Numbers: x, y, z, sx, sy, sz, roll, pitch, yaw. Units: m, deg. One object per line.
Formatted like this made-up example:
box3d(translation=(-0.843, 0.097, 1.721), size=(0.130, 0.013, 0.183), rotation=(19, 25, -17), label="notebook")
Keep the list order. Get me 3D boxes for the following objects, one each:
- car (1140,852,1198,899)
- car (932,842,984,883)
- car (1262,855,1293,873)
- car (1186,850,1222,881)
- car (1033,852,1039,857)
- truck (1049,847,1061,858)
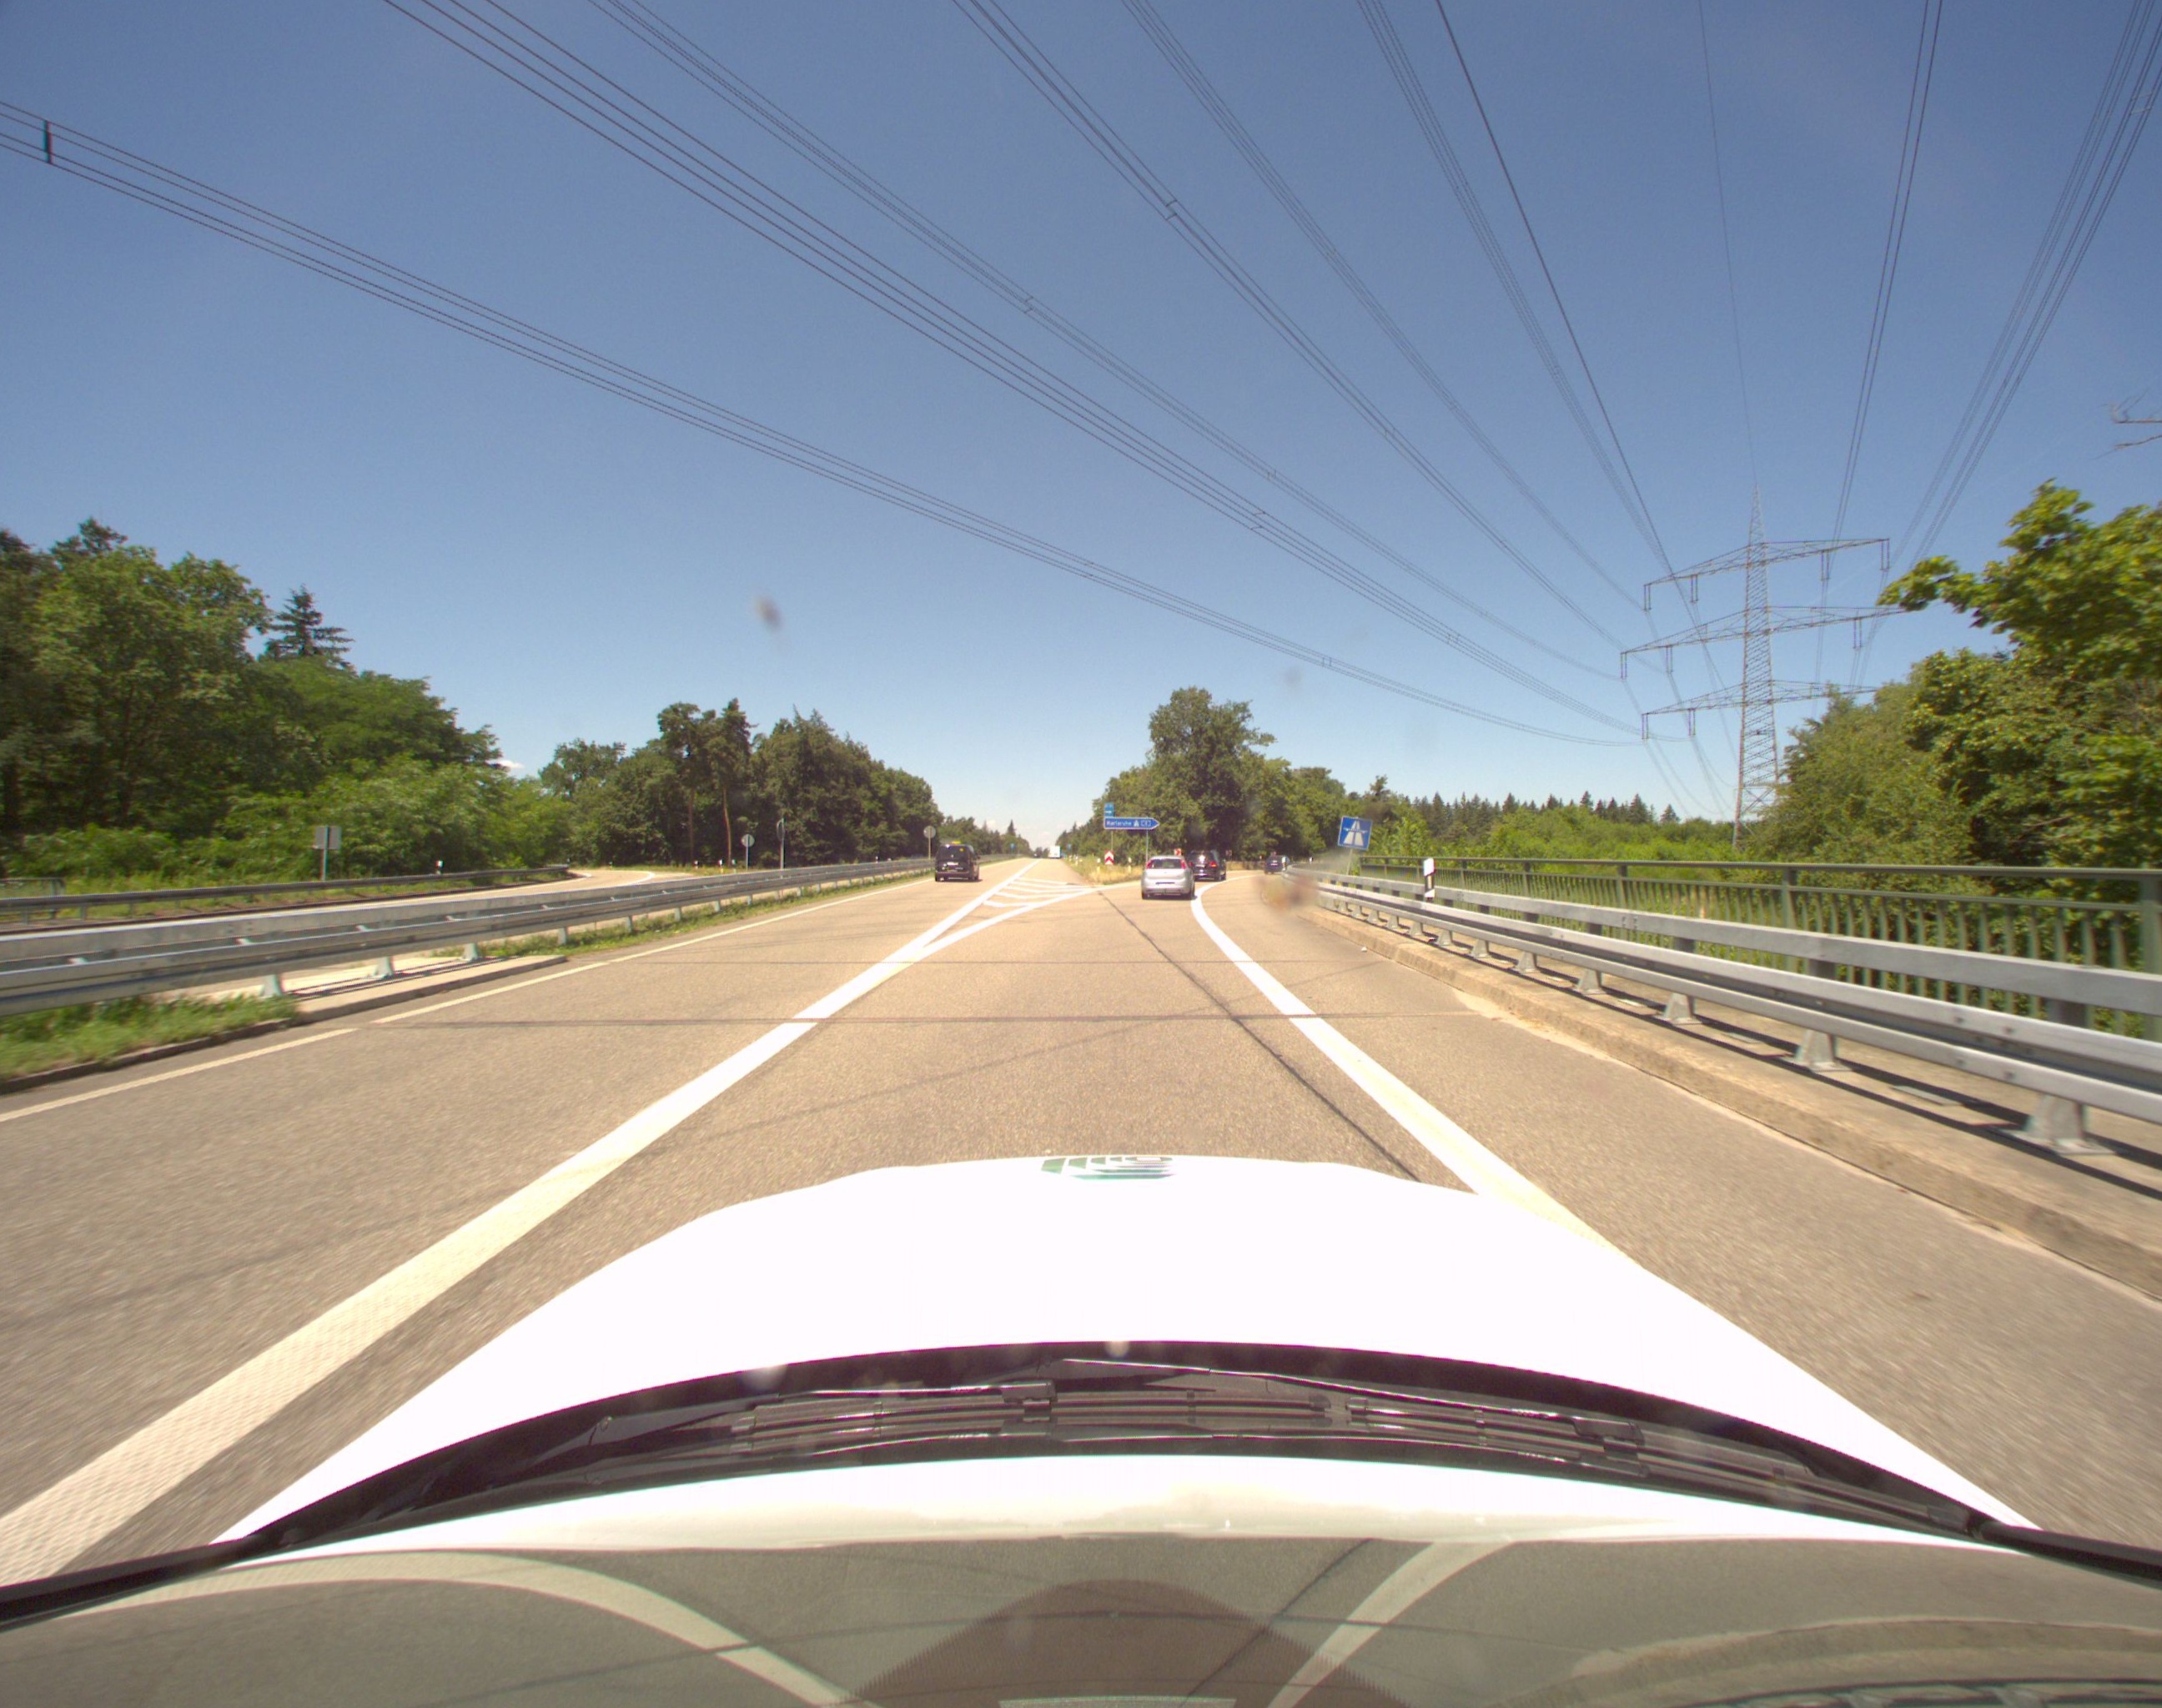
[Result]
box3d(translation=(3.075, 0.704, 27.930), size=(1.629, 1.468, 3.430), rotation=(2, 0, 11), label="car")
box3d(translation=(-6.020, 0.372, 40.474), size=(1.849, 1.887, 5.570), rotation=(-1, 0, -1), label="car")
box3d(translation=(15.093, 0.751, 62.478), size=(1.625, 1.342, 3.594), rotation=(2, 0, 24), label="car")
box3d(translation=(7.025, 0.616, 46.164), size=(1.628, 1.653, 3.587), rotation=(2, 0, 14), label="car")
box3d(translation=(-12.958, 0.190, 234.914), size=(1.708, 1.471, 3.572), rotation=(2, 0, -2), label="car")
box3d(translation=(-6.240, -0.421, 194.727), size=(2.612, 2.642, 7.660), rotation=(-1, 0, -2), label="truck")
